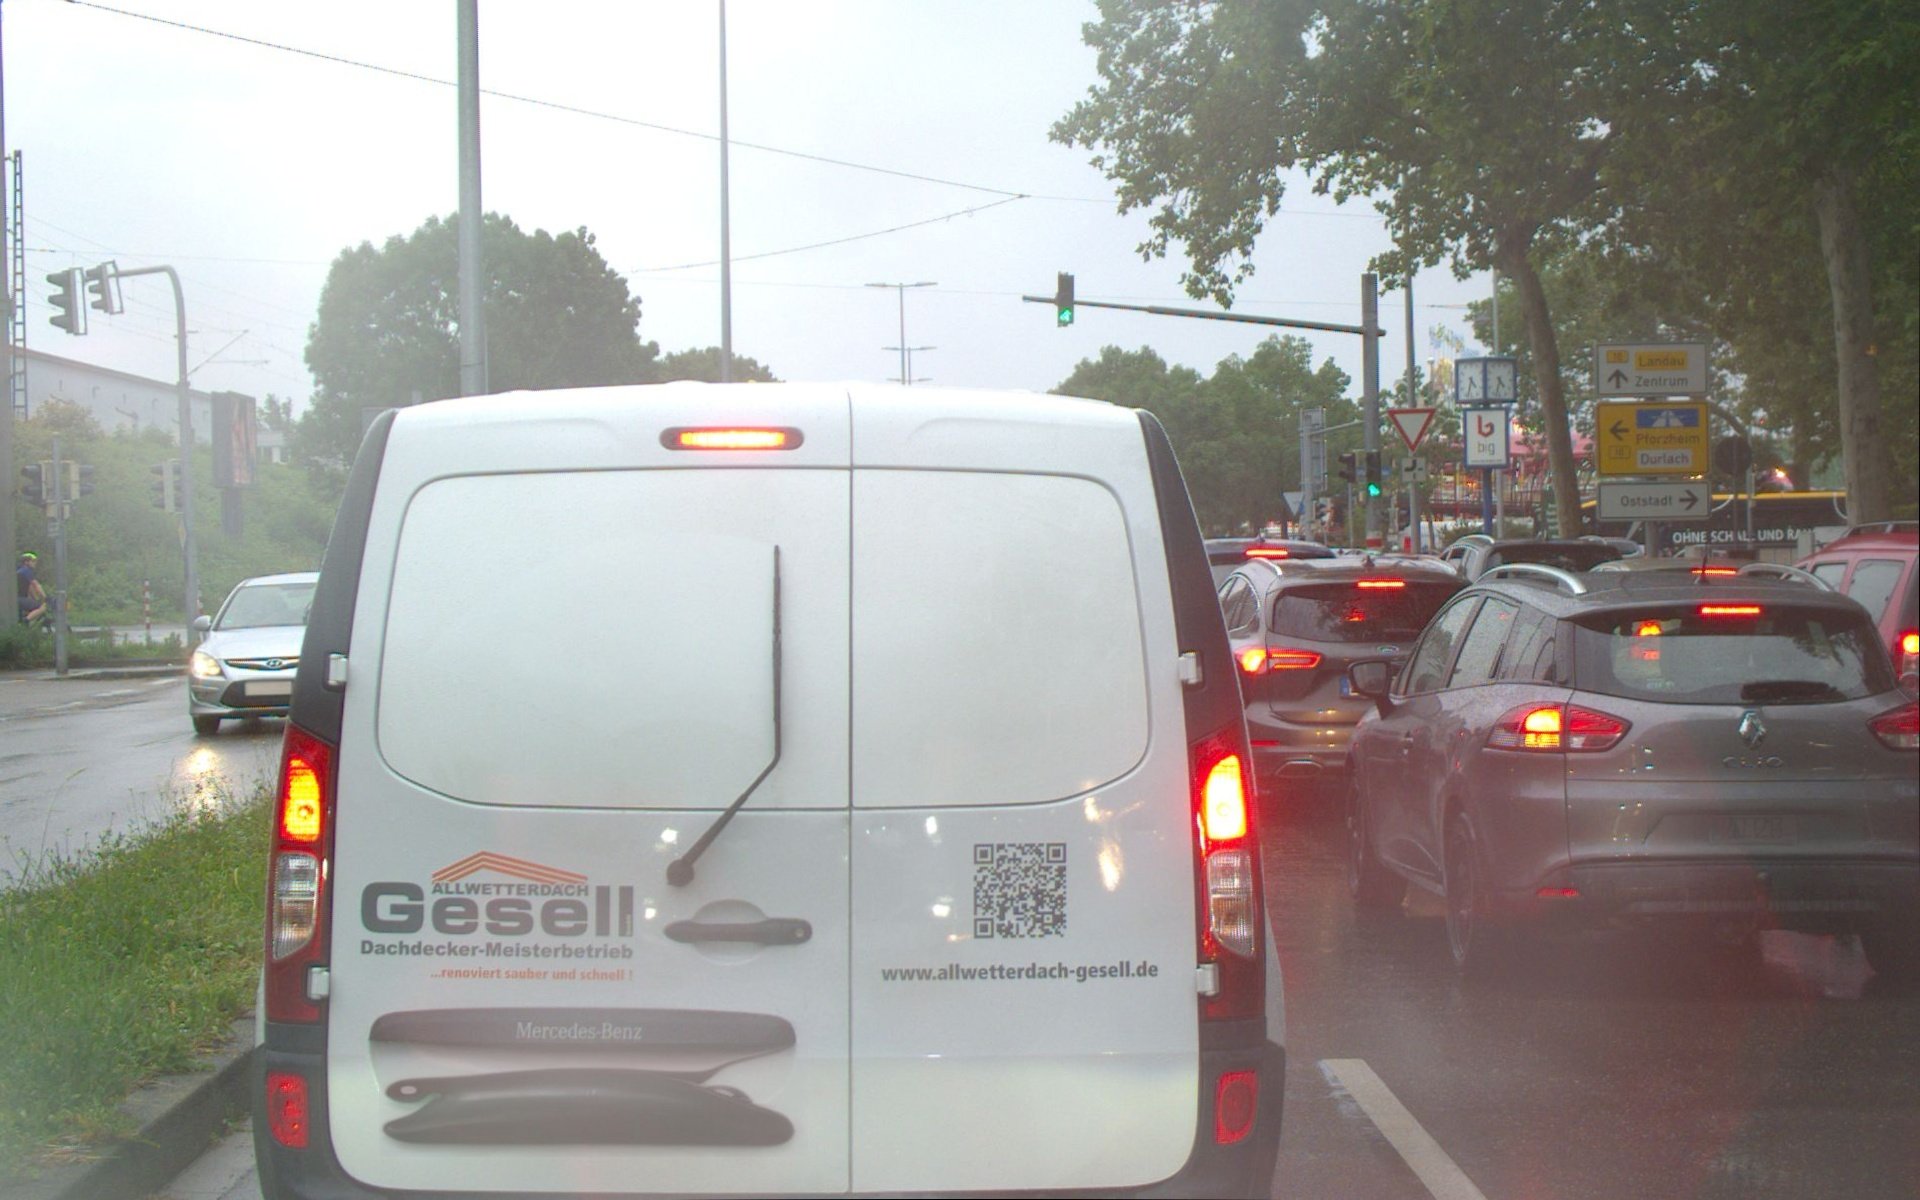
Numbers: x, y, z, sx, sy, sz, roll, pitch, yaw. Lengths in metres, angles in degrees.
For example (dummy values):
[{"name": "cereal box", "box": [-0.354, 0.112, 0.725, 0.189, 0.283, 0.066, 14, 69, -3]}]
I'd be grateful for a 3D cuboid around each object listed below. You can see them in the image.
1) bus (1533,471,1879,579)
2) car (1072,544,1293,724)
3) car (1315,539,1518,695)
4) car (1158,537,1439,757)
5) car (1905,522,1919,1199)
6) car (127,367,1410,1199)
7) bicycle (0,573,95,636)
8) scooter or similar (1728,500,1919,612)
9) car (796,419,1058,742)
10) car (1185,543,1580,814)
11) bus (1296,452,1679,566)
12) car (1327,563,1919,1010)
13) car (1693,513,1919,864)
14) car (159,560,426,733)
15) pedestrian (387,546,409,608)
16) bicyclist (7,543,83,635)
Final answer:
[{"name": "bus", "box": [25.410, -2.579, 116.867, 11.968, 3.411, 2.484, -2, 2, -20]}, {"name": "car", "box": [2.110, 0.293, 33.526, 1.854, 1.644, 3.843, 0, 1, -1]}, {"name": "car", "box": [5.051, 0.163, 38.478, 1.708, 1.644, 3.843, 0, 1, -1]}, {"name": "car", "box": [2.668, 0.320, 27.862, 1.854, 1.644, 3.843, 0, 1, -1]}, {"name": "car", "box": [2.973, 0.645, 5.411, 1.747, 1.549, 4.091, 0, 1, -1]}, {"name": "car", "box": [-0.320, 0.477, 7.653, 1.993, 1.770, 4.585, 0, 1, -1]}, {"name": "bicycle", "box": [-14.802, 0.058, 55.585, 1.040, 0.949, 2.889, -2, 2, -25]}, {"name": "scooter or similar", "box": [19.979, -0.992, 77.064, 1.890, 2.437, 5.316, -1, 1, -41]}, {"name": "car", "box": [-0.255, -0.179, 26.415, 1.854, 2.288, 3.843, 0, 1, -1]}, {"name": "car", "box": [2.427, 0.395, 20.635, 1.854, 1.455, 3.843, 0, 1, -1]}, {"name": "bus", "box": [16.950, -2.926, 110.878, 11.970, 3.411, 2.315, -1, 1, 0]}, {"name": "car", "box": [2.502, 0.590, 13.141, 1.683, 1.403, 3.843, 1, 1, -1]}, {"name": "car", "box": [5.332, 0.428, 18.700, 1.710, 1.688, 4.272, 1, 0, -1]}, {"name": "car", "box": [-6.368, 0.399, 33.191, 1.816, 1.457, 4.000, -3, 1, -1]}, {"name": "pedestrian", "box": [-15.718, -0.647, 96.149, 0.543, 1.710, 0.563, 1, 0, -4]}, {"name": "bicyclist", "box": [-14.778, -0.188, 55.508, 1.040, 1.445, 0.729, -2, 2, -25]}]
